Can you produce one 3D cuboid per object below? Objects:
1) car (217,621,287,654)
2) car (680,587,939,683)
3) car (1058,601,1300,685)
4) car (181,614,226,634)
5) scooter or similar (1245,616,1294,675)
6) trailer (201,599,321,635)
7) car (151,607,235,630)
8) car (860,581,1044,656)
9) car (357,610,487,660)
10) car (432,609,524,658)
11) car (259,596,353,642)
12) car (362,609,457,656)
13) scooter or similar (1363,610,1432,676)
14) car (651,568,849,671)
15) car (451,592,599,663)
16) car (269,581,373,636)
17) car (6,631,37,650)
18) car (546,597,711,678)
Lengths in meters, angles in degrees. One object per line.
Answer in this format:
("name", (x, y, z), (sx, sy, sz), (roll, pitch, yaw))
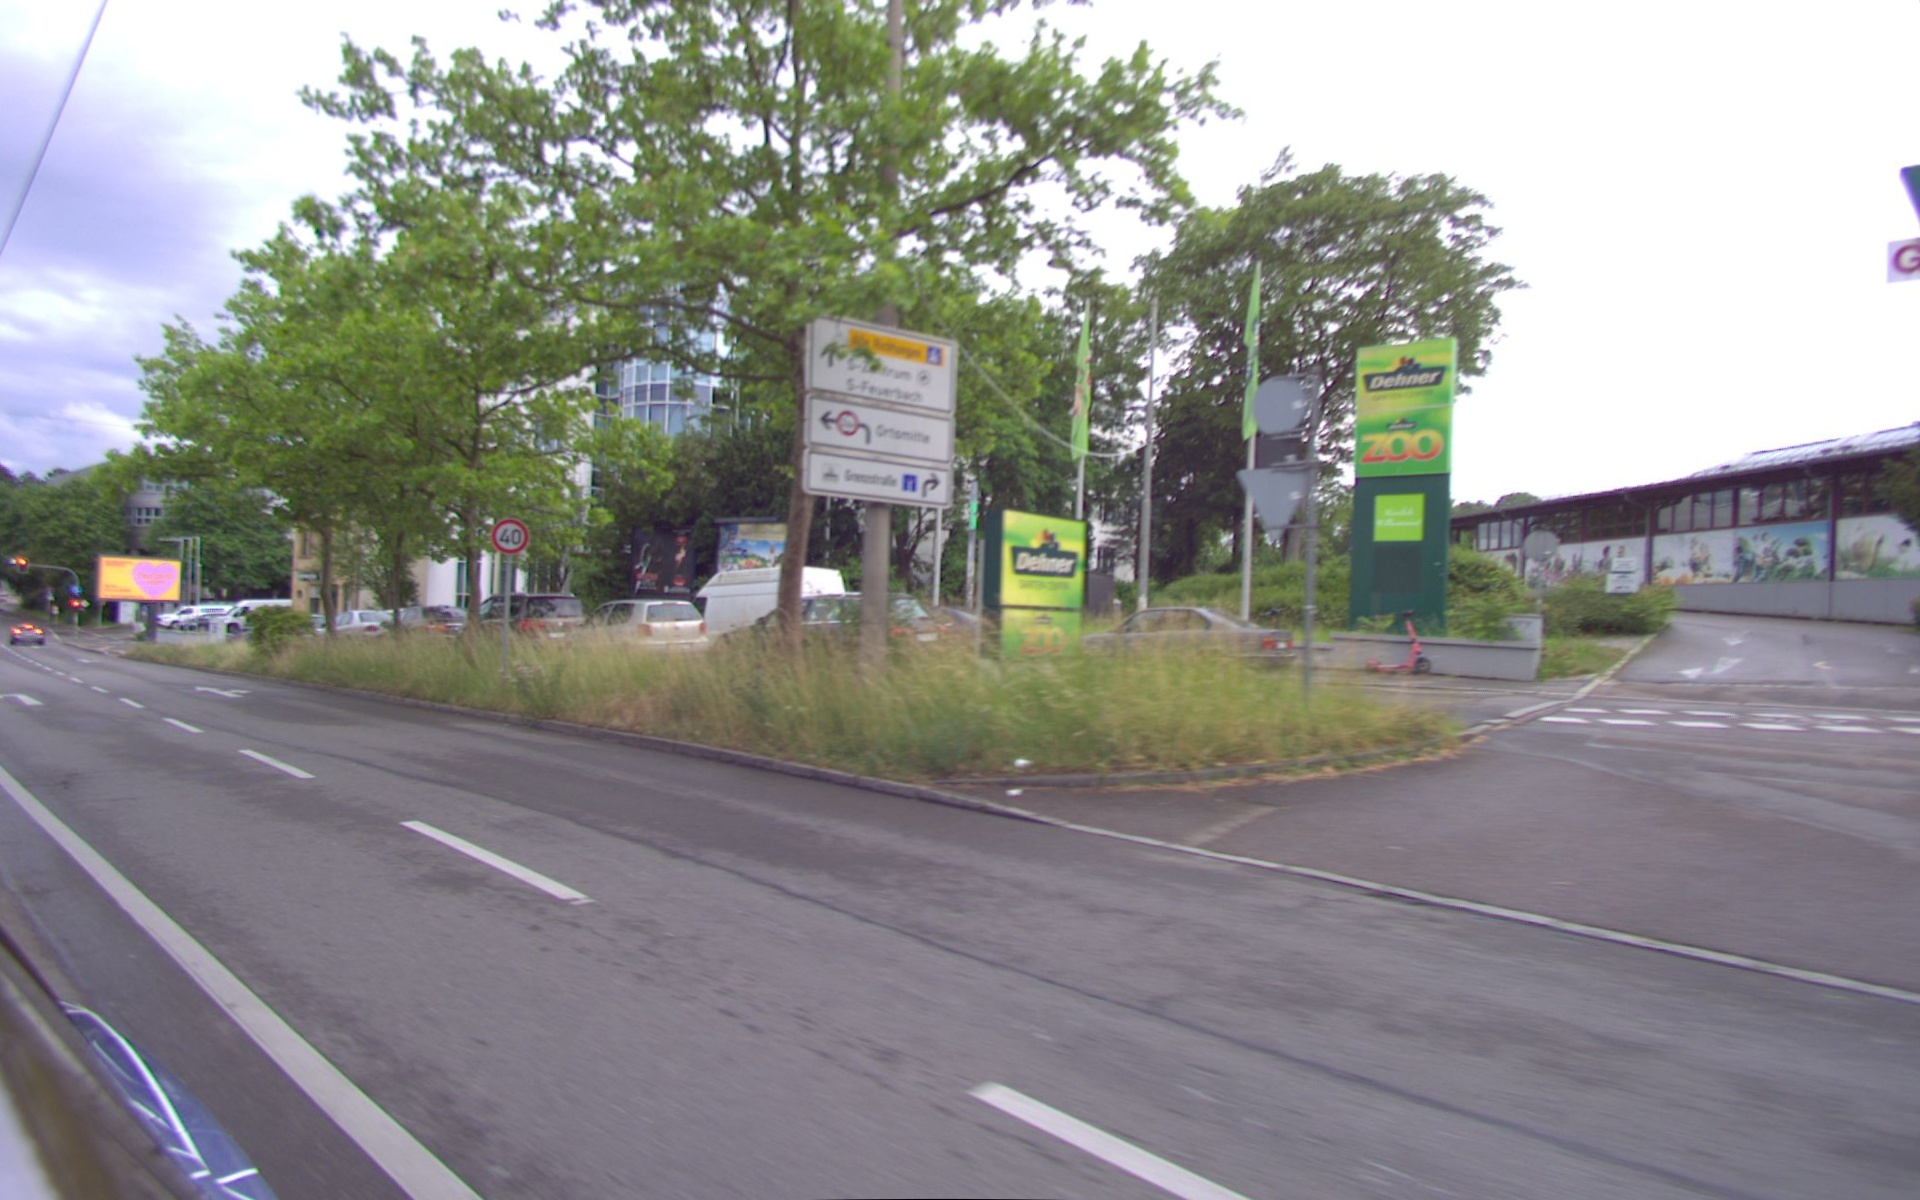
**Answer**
("car", (-35.318, 1.914, 50.438), (4.668, 1.546, 1.671), (-3, -4, 40))
("car", (-2.519, 0.499, 16.137), (4.544, 1.303, 1.521), (1, -1, 42))
("car", (4.002, 0.755, 18.964), (4.277, 1.328, 1.387), (1, -1, 41))
("car", (-59.191, 1.844, 79.245), (1.227, 1.435, 2.649), (0, 1, 42))
("scooter or similar", (6.519, 0.954, 21.304), (0.920, 1.164, 0.395), (1, 5, 31))
("trailer", (-52.585, 1.314, 76.288), (2.394, 2.446, 7.022), (1, -1, 41))
("car", (-65.936, 1.580, 87.121), (2.215, 1.815, 5.308), (1, -1, 35))
("car", (-0.216, 0.382, 22.222), (3.665, 1.479, 1.825), (1, -1, 37))
("car", (-14.232, 0.925, 26.675), (4.218, 1.214, 1.679), (-2, -4, 42))
("car", (-17.623, 1.262, 36.942), (3.778, 1.709, 1.575), (-3, -4, 40))
("car", (-23.072, 0.714, 35.621), (4.442, 1.489, 1.629), (-3, -4, 42))
("car", (-21.688, 1.331, 39.804), (4.580, 1.759, 1.752), (-3, -4, 40))
("scooter or similar", (8.536, 0.829, 19.776), (1.129, 1.254, 0.489), (-2, -3, 40))
("car", (-5.630, 0.598, 26.731), (5.647, 2.462, 1.944), (-3, -4, 38))
("car", (-9.957, 0.596, 23.093), (3.644, 1.463, 1.636), (1, -1, 41))
("car", (-19.911, 0.319, 31.479), (3.989, 1.552, 1.575), (-3, -4, 40))
("car", (-65.685, 2.808, 70.826), (2.453, 1.232, 1.362), (1, -1, 42))
("car", (-6.616, 0.693, 20.016), (3.706, 1.405, 1.346), (1, -1, 41))
